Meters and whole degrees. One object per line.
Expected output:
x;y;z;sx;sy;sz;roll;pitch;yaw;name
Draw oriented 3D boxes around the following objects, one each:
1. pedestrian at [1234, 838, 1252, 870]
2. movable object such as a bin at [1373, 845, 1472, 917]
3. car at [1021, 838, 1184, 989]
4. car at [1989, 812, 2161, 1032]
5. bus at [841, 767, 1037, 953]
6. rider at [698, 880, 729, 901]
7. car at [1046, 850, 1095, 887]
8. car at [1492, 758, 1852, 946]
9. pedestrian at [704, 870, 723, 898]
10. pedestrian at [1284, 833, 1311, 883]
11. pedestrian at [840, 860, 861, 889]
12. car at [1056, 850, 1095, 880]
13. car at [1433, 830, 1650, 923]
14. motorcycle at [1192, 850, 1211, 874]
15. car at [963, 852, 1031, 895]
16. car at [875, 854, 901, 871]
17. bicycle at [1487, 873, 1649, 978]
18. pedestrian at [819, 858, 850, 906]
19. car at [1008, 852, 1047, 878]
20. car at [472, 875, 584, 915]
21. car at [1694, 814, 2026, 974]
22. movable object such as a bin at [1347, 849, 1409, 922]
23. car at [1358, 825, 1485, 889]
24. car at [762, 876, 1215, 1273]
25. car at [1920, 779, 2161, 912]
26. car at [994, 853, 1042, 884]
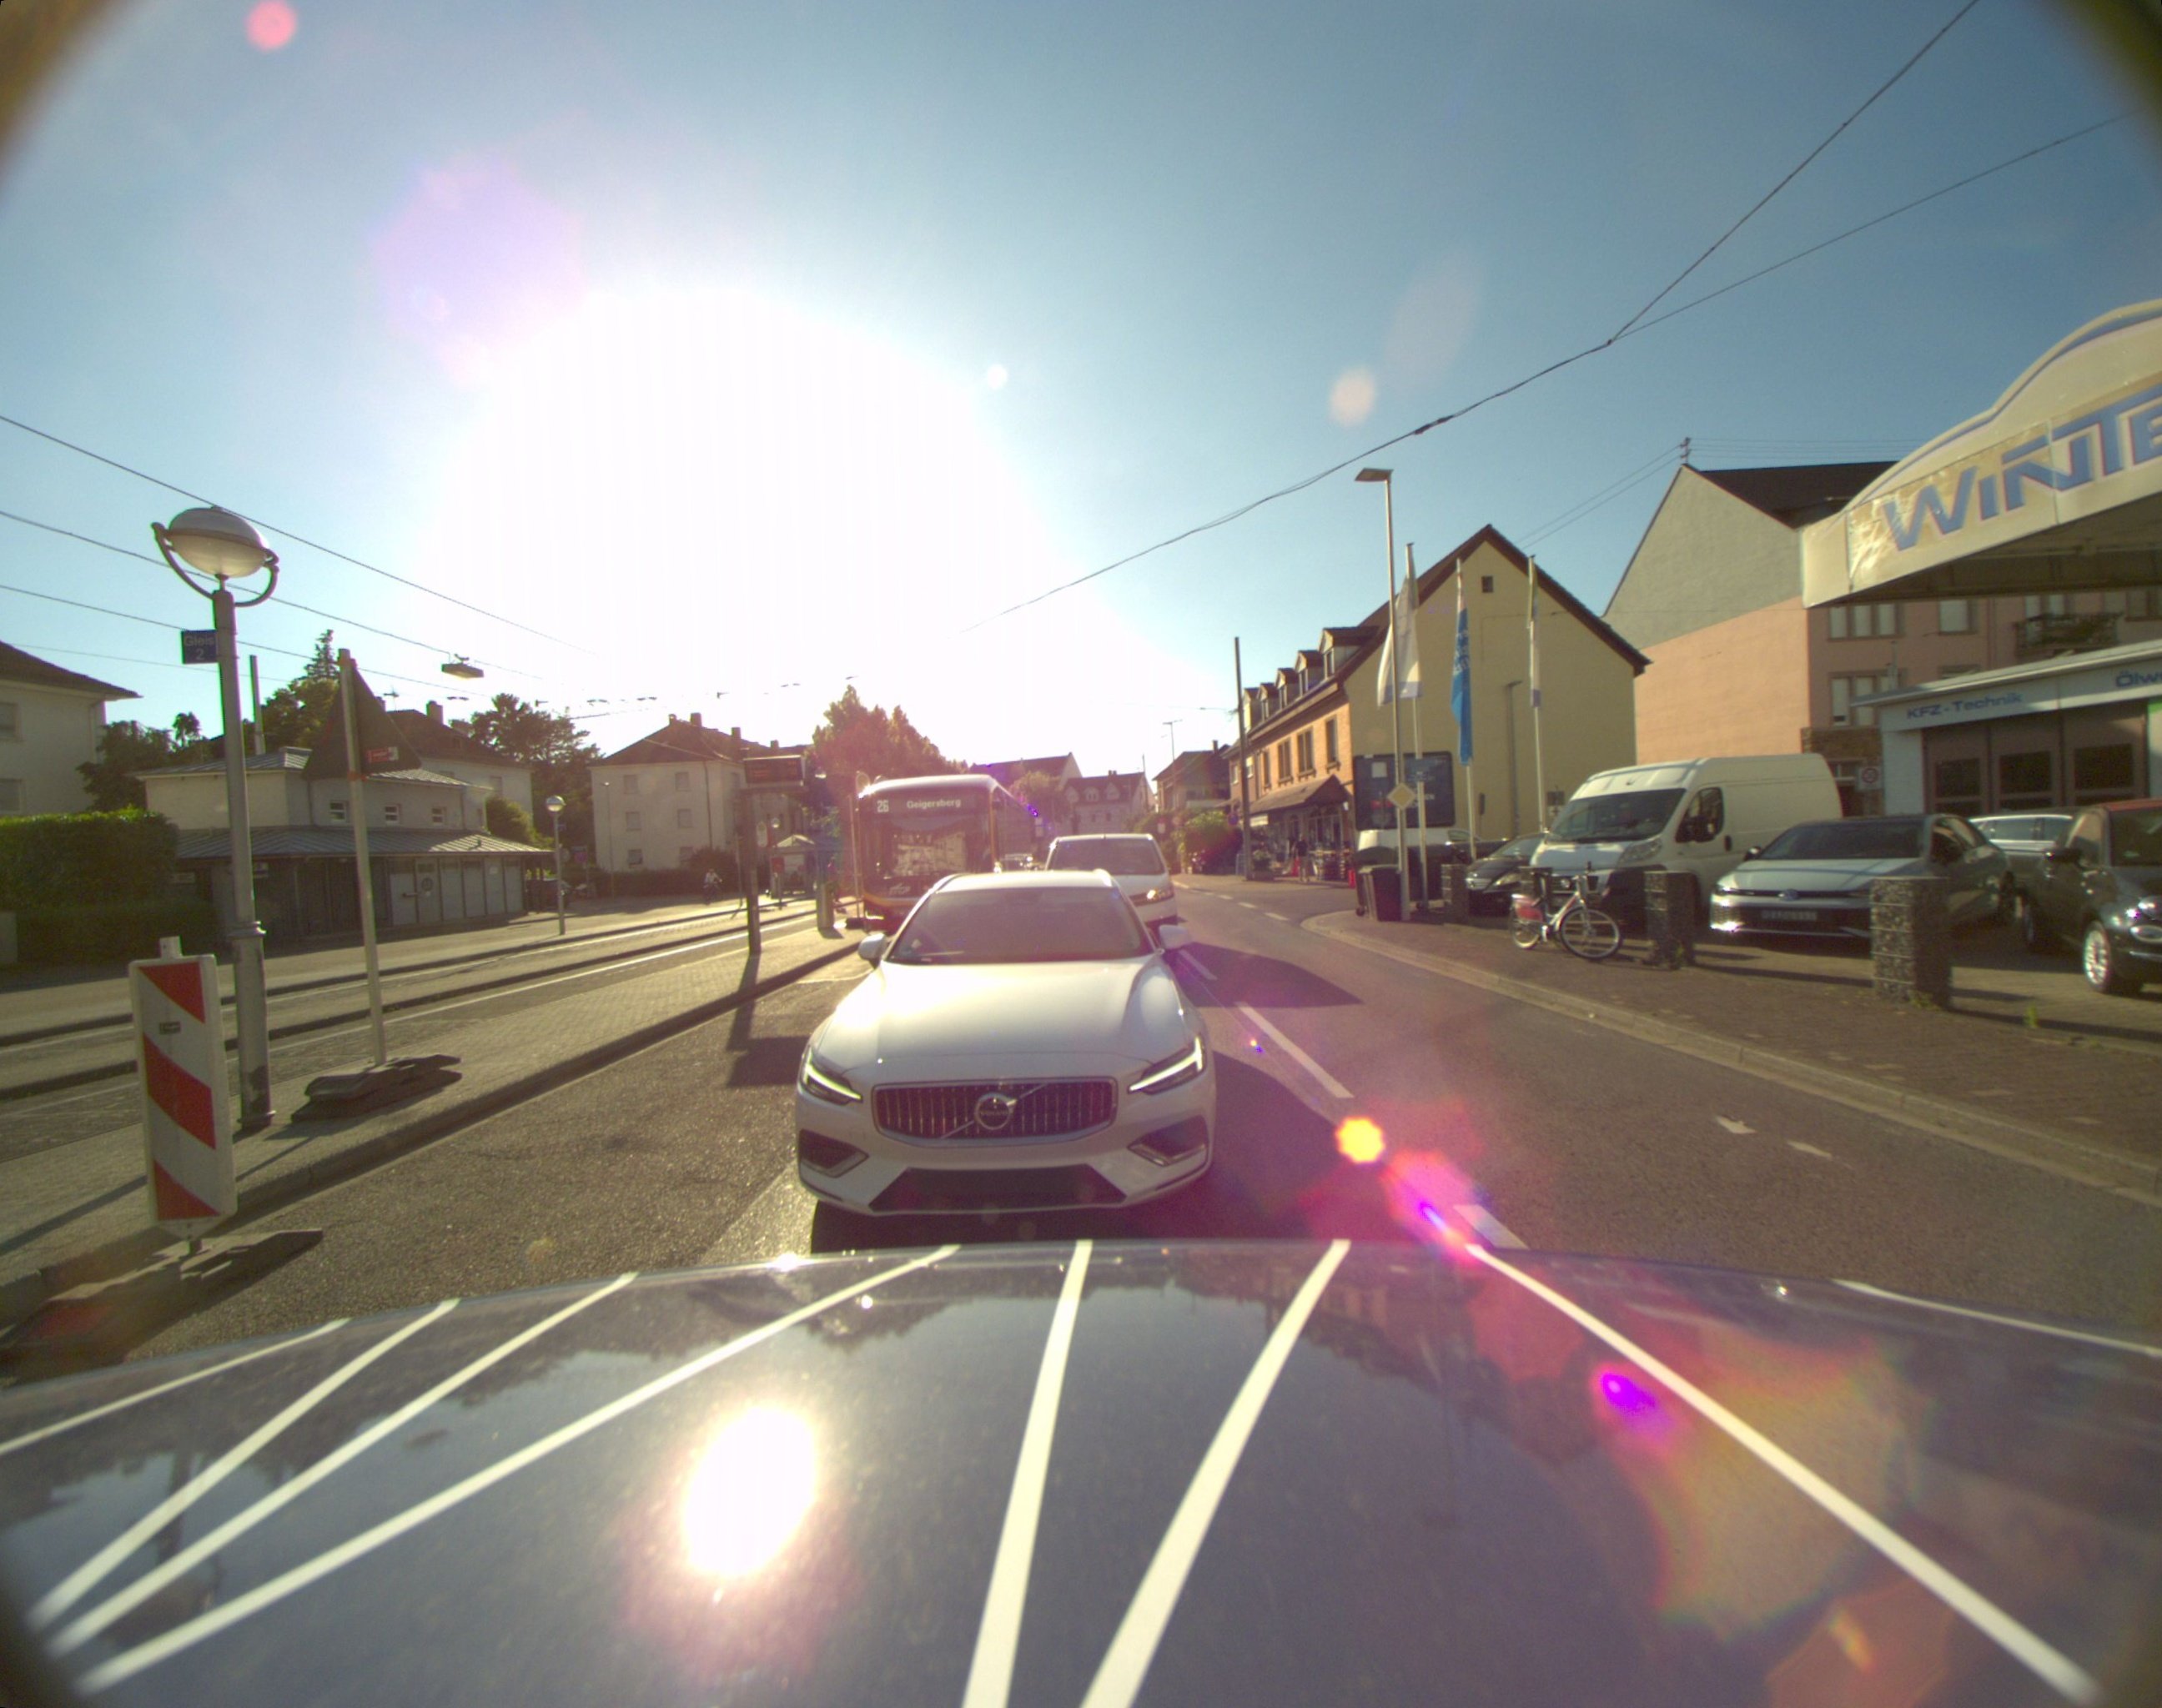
8.971;-0.003;42.045;0.809;1.703;0.859;-2;1;2;pedestrian
7.593;0.577;16.914;1.798;1.456;1.046;-3;1;-25;movable object such as a bin
0.303;0.732;12.010;1.969;1.816;5.033;-2;0;1;car
9.076;0.411;6.165;1.590;1.488;3.442;-2;1;40;car
-2.919;0.093;19.833;2.748;3.284;12.030;-2;0;0;bus
-18.658;1.843;38.560;1.852;0.986;0.581;-2;1;38;rider
-0.391;0.580;33.261;1.969;1.450;4.824;-2;0;1;car
9.143;-0.136;11.760;4.997;2.440;2.111;-3;1;-22;car
-18.648;1.529;38.532;0.657;1.373;0.581;-1;1;38;pedestrian
8.281;0.155;29.111;0.822;1.842;0.767;-2;1;5;pedestrian
-12.846;1.134;42.386;0.841;1.601;0.825;-2;1;3;pedestrian
-0.251;0.564;41.508;1.969;1.450;4.824;-2;0;1;car
8.967;0.372;14.747;4.036;1.469;1.739;-3;1;-28;car
6.354;0.415;40.119;0.708;1.210;2.186;-2;1;3;motorcycle
-3.151;0.703;29.500;1.969;1.450;4.824;-2;0;1;car
-23.259;1.013;91.773;1.998;1.853;3.999;-2;1;1;car
5.881;0.813;9.313;0.725;1.080;1.791;-3;1;-3;bicycle
-9.053;1.021;27.923;0.842;1.708;0.825;-2;1;-2;pedestrian
-3.270;0.628;47.303;1.969;1.450;4.824;-2;0;1;car
-27.687;2.043;38.139;4.052;1.663;2.000;-4;1;2;car
9.490;0.358;9.211;4.036;1.488;1.739;-3;1;-28;car
6.236;0.640;15.950;1.045;1.456;0.797;-2;1;32;movable object such as a bin
11.565;0.096;25.922;3.672;2.002;1.451;-2;1;-3;car
-0.353;0.980;5.256;1.821;1.446;4.217;-2;0;1;car
16.481;-0.174;11.987;1.742;1.933;4.257;-3;1;-1;car
-3.228;0.703;39.889;1.969;1.450;4.824;-2;0;1;car
